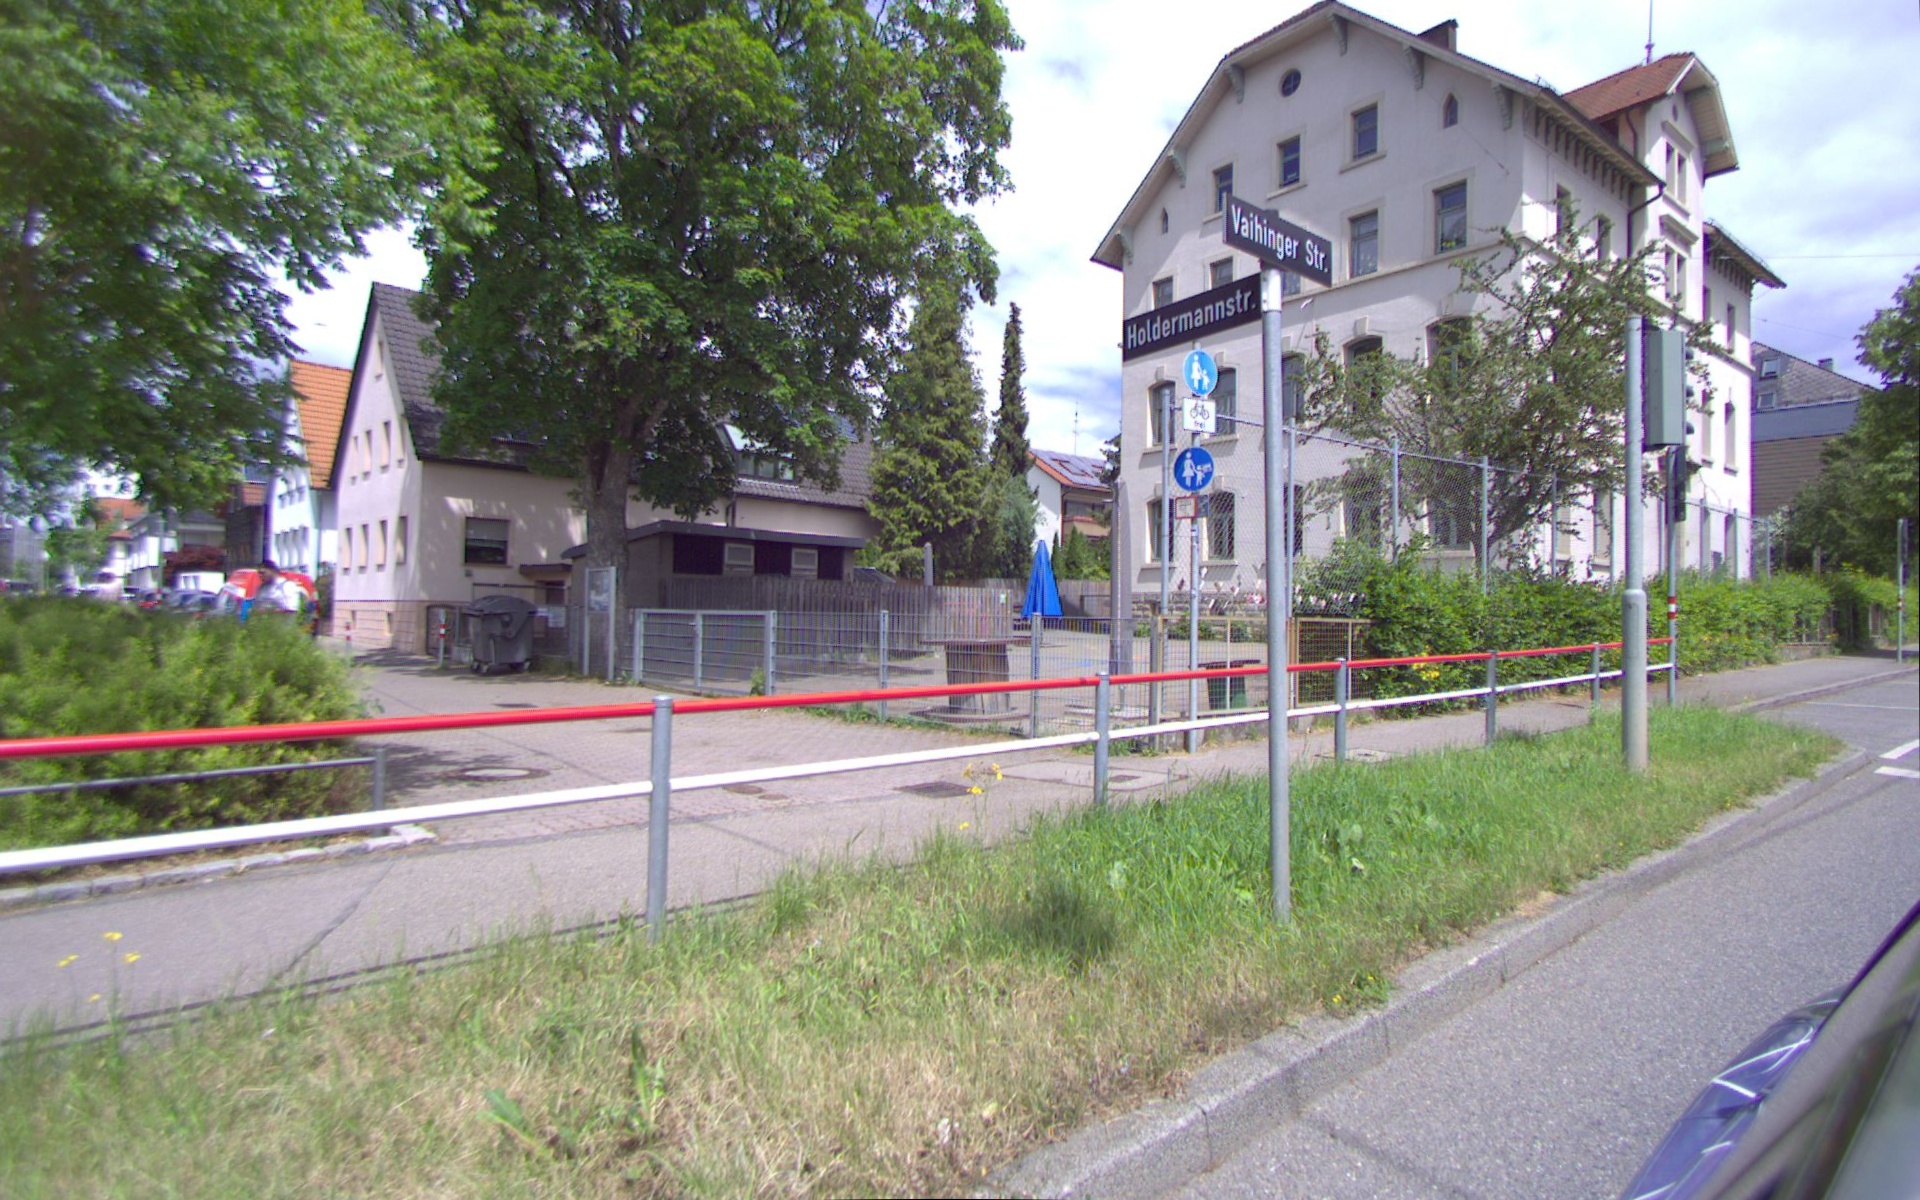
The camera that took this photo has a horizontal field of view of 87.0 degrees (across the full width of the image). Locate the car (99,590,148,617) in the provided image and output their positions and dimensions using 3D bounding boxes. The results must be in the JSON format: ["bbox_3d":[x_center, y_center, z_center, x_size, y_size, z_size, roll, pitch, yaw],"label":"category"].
[{"bbox_3d":[-47.758,0.171,57.751,1.823,1.415,3.989,-1,1,-45],"label":"car"}]

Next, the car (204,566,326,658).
[{"bbox_3d":[-17.085,0.282,24.796,1.964,2.039,3.994,4,-2,-40],"label":"car"}]

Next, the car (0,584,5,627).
[{"bbox_3d":[-33.607,0.165,34.226,1.823,1.415,3.989,-1,1,-45],"label":"car"}]

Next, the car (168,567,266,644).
[{"bbox_3d":[-21.097,0.135,28.666,1.796,2.039,3.991,-1,0,-43],"label":"car"}]

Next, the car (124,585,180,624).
[{"bbox_3d":[-33.978,0.158,42.534,1.574,1.437,3.993,-1,3,-43],"label":"car"}]

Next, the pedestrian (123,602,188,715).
[{"bbox_3d":[-9.087,0.645,11.435,0.401,1.245,0.458,0,0,26],"label":"pedestrian"}]

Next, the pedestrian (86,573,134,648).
[{"bbox_3d":[-20.490,0.252,24.394,0.835,1.749,0.756,0,-2,-43],"label":"pedestrian"}]

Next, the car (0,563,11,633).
[{"bbox_3d":[-30.046,-0.071,30.575,1.821,2.039,3.993,0,1,-41],"label":"car"}]

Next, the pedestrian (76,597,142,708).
[{"bbox_3d":[-9.763,0.585,11.615,0.401,1.245,0.458,0,0,26],"label":"pedestrian"}]

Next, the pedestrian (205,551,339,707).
[{"bbox_3d":[-8.559,0.370,12.612,0.748,1.842,1.129,0,-4,41],"label":"pedestrian"}]

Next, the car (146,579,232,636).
[{"bbox_3d":[-24.743,0.192,32.421,1.796,1.694,4.352,-1,1,-43],"label":"car"}]
